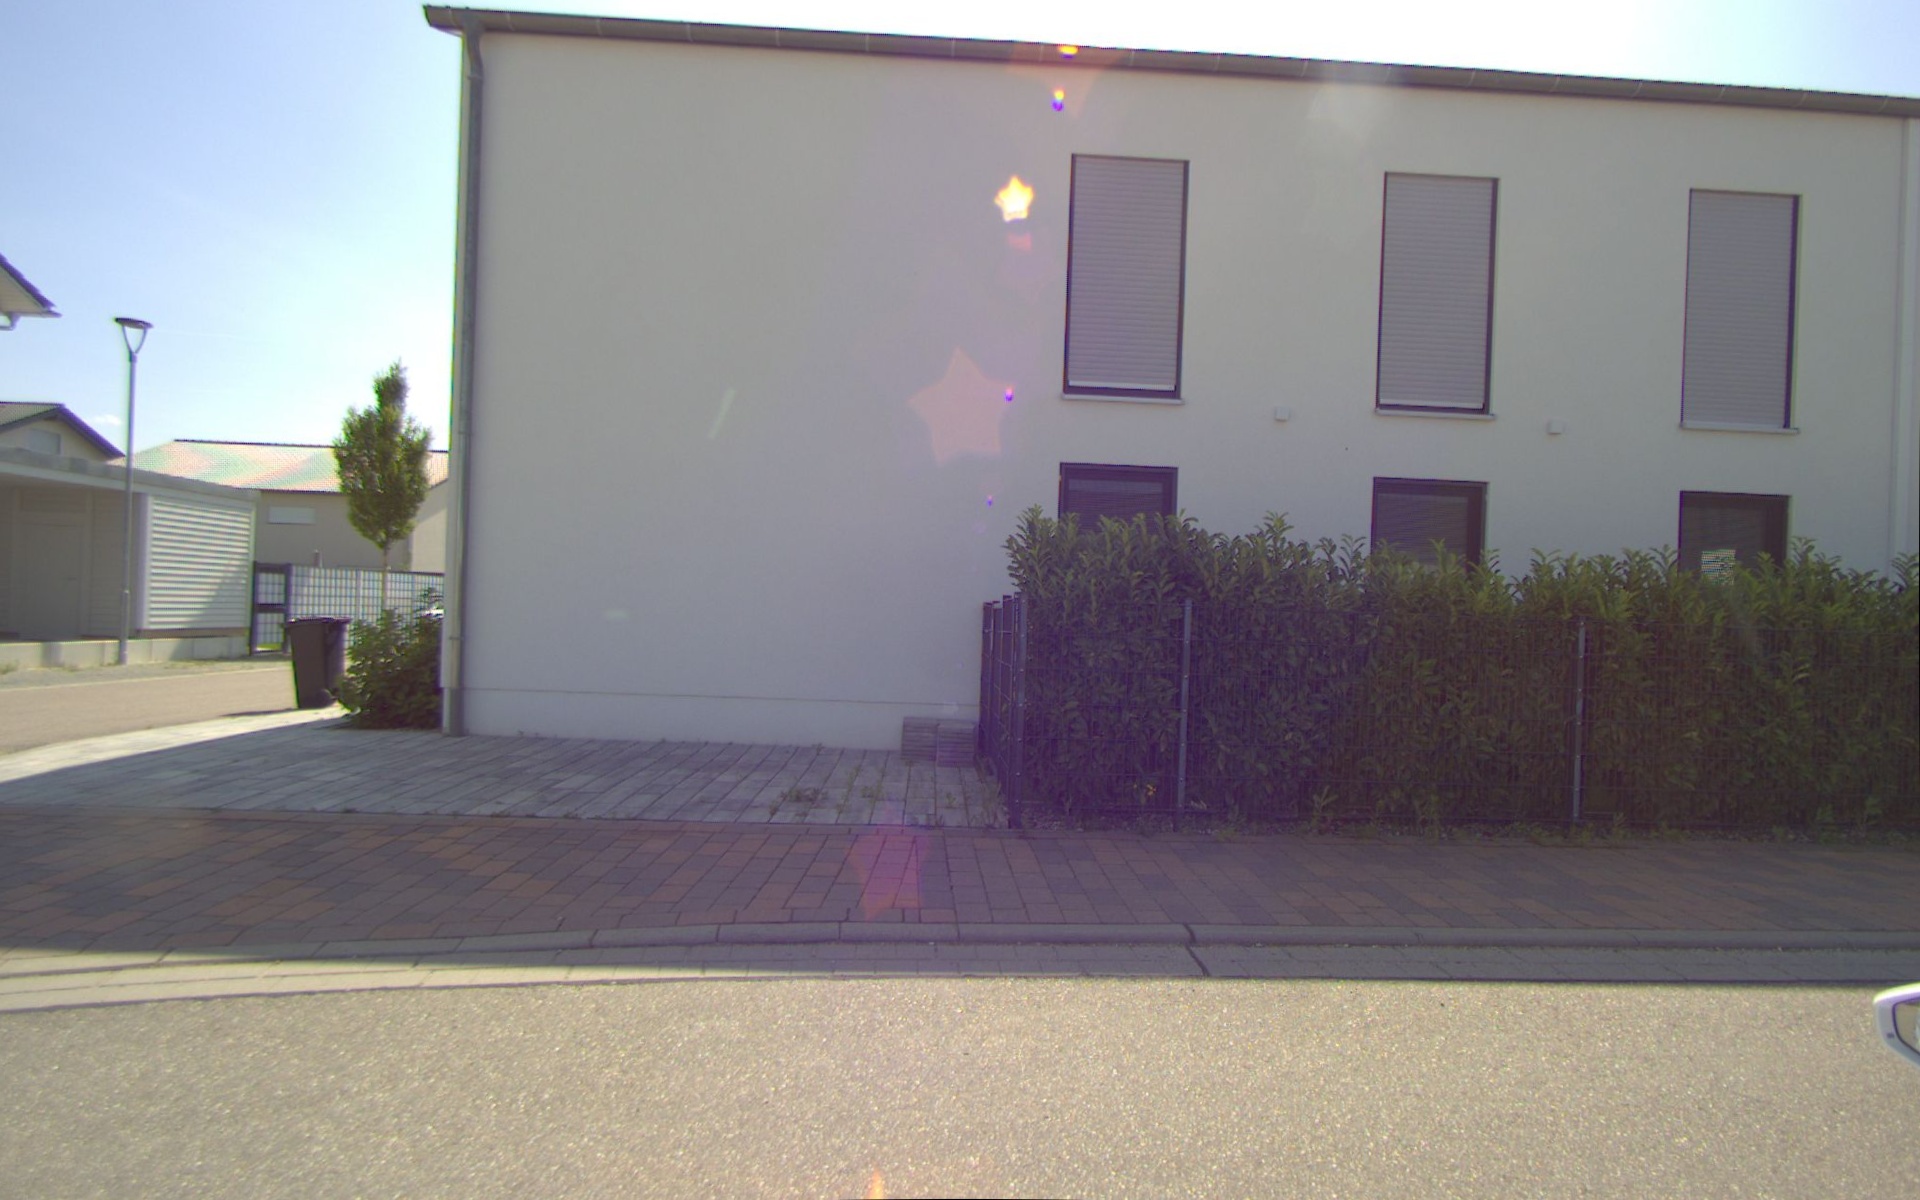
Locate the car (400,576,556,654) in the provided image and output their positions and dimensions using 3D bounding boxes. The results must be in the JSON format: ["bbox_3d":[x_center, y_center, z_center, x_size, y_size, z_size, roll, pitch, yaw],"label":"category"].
[{"bbox_3d":[-12.978,0.431,27.425,1.961,1.813,4.647,4,-1,-1],"label":"car"}]

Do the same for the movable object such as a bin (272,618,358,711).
[{"bbox_3d":[-6.896,0.682,10.755,0.590,0.961,0.501,1,0,-2],"label":"movable object such as a bin"}]
